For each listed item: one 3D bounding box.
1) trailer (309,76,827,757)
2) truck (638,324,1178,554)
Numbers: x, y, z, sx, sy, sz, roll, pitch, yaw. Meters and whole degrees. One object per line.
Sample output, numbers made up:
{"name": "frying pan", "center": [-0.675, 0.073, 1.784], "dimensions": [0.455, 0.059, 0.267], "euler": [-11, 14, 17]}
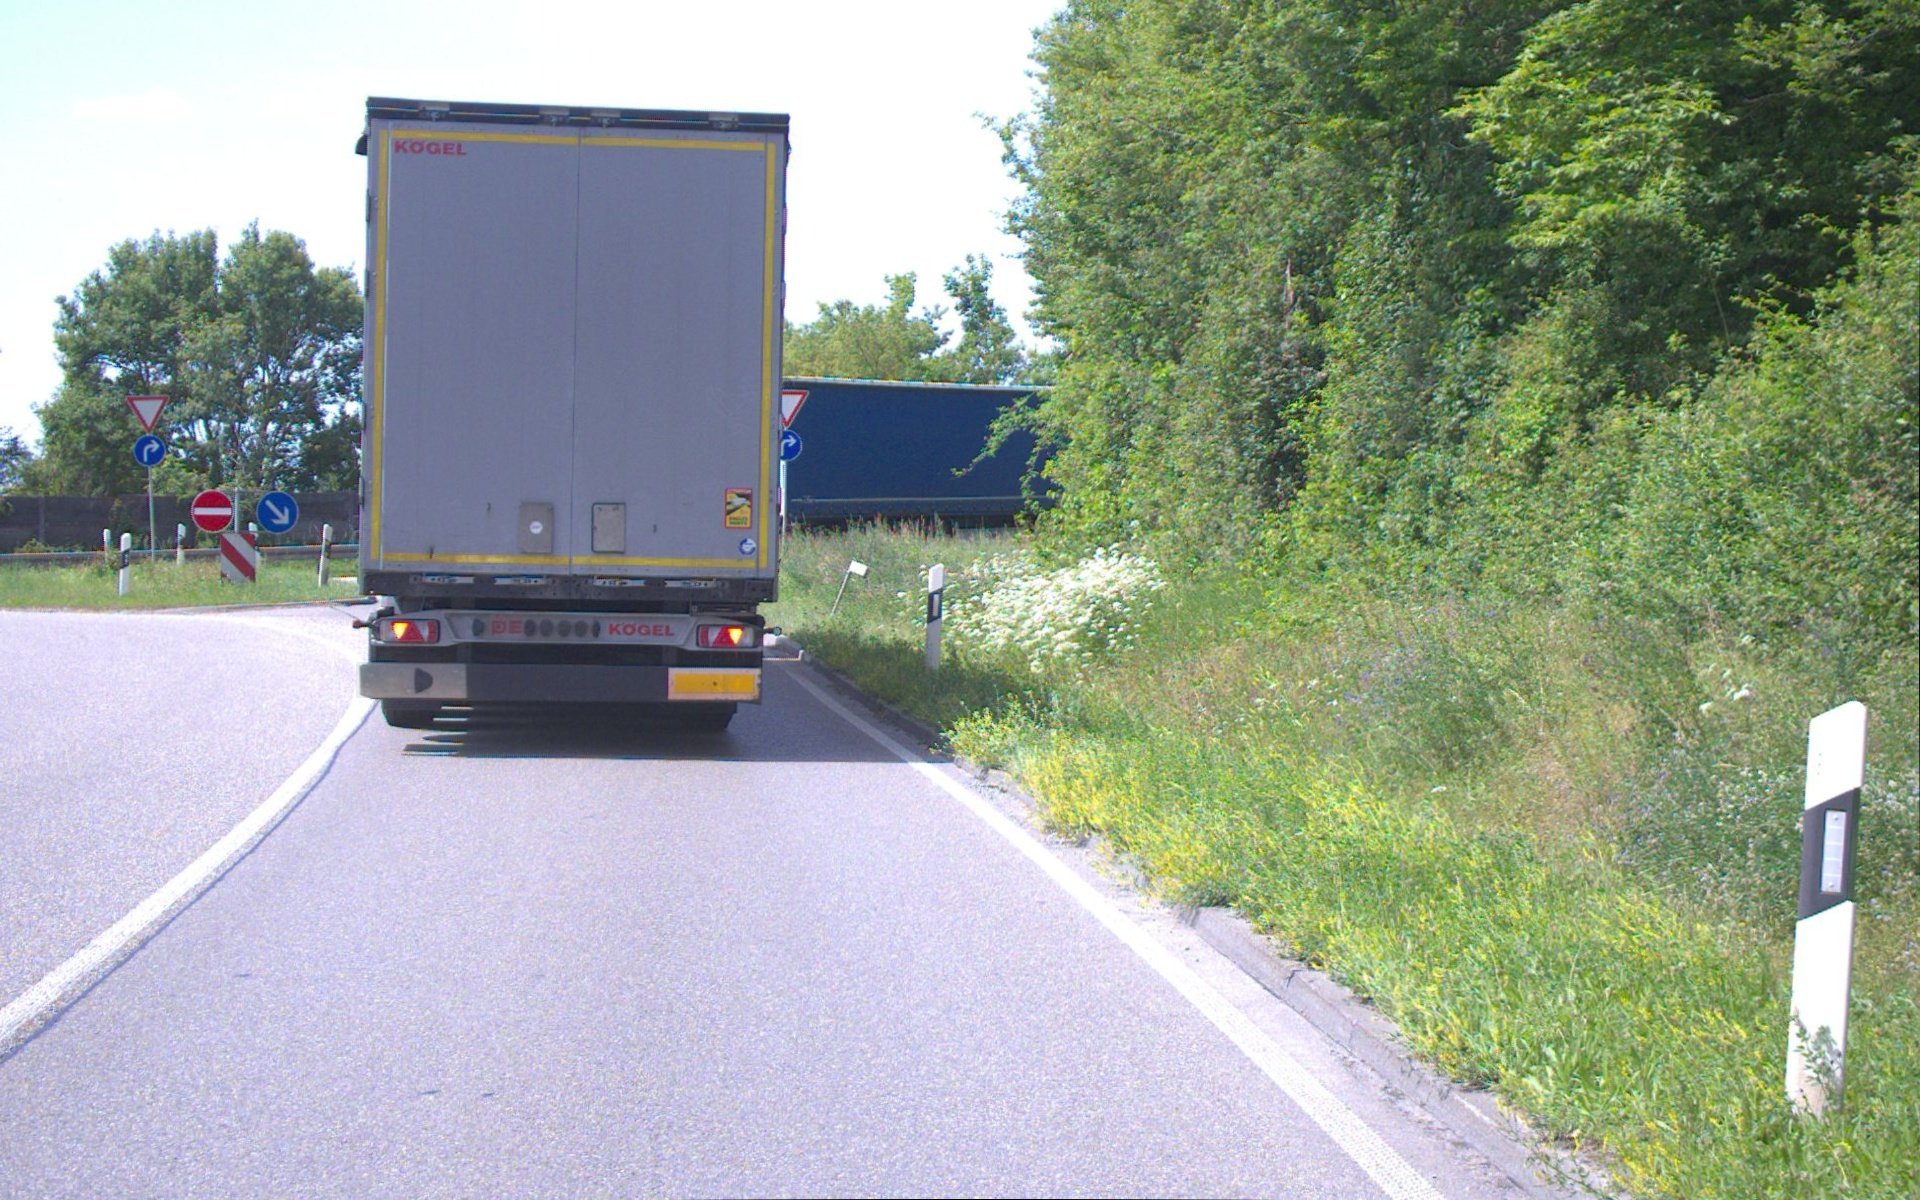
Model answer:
{"name": "trailer", "center": [-3.028, -1.284, 27.313], "dimensions": [3.026, 4.020, 13.355], "euler": [1, 2, -6]}
{"name": "truck", "center": [-0.738, -3.554, 78.679], "dimensions": [3.836, 4.728, 16.173], "euler": [0, 2, 34]}
